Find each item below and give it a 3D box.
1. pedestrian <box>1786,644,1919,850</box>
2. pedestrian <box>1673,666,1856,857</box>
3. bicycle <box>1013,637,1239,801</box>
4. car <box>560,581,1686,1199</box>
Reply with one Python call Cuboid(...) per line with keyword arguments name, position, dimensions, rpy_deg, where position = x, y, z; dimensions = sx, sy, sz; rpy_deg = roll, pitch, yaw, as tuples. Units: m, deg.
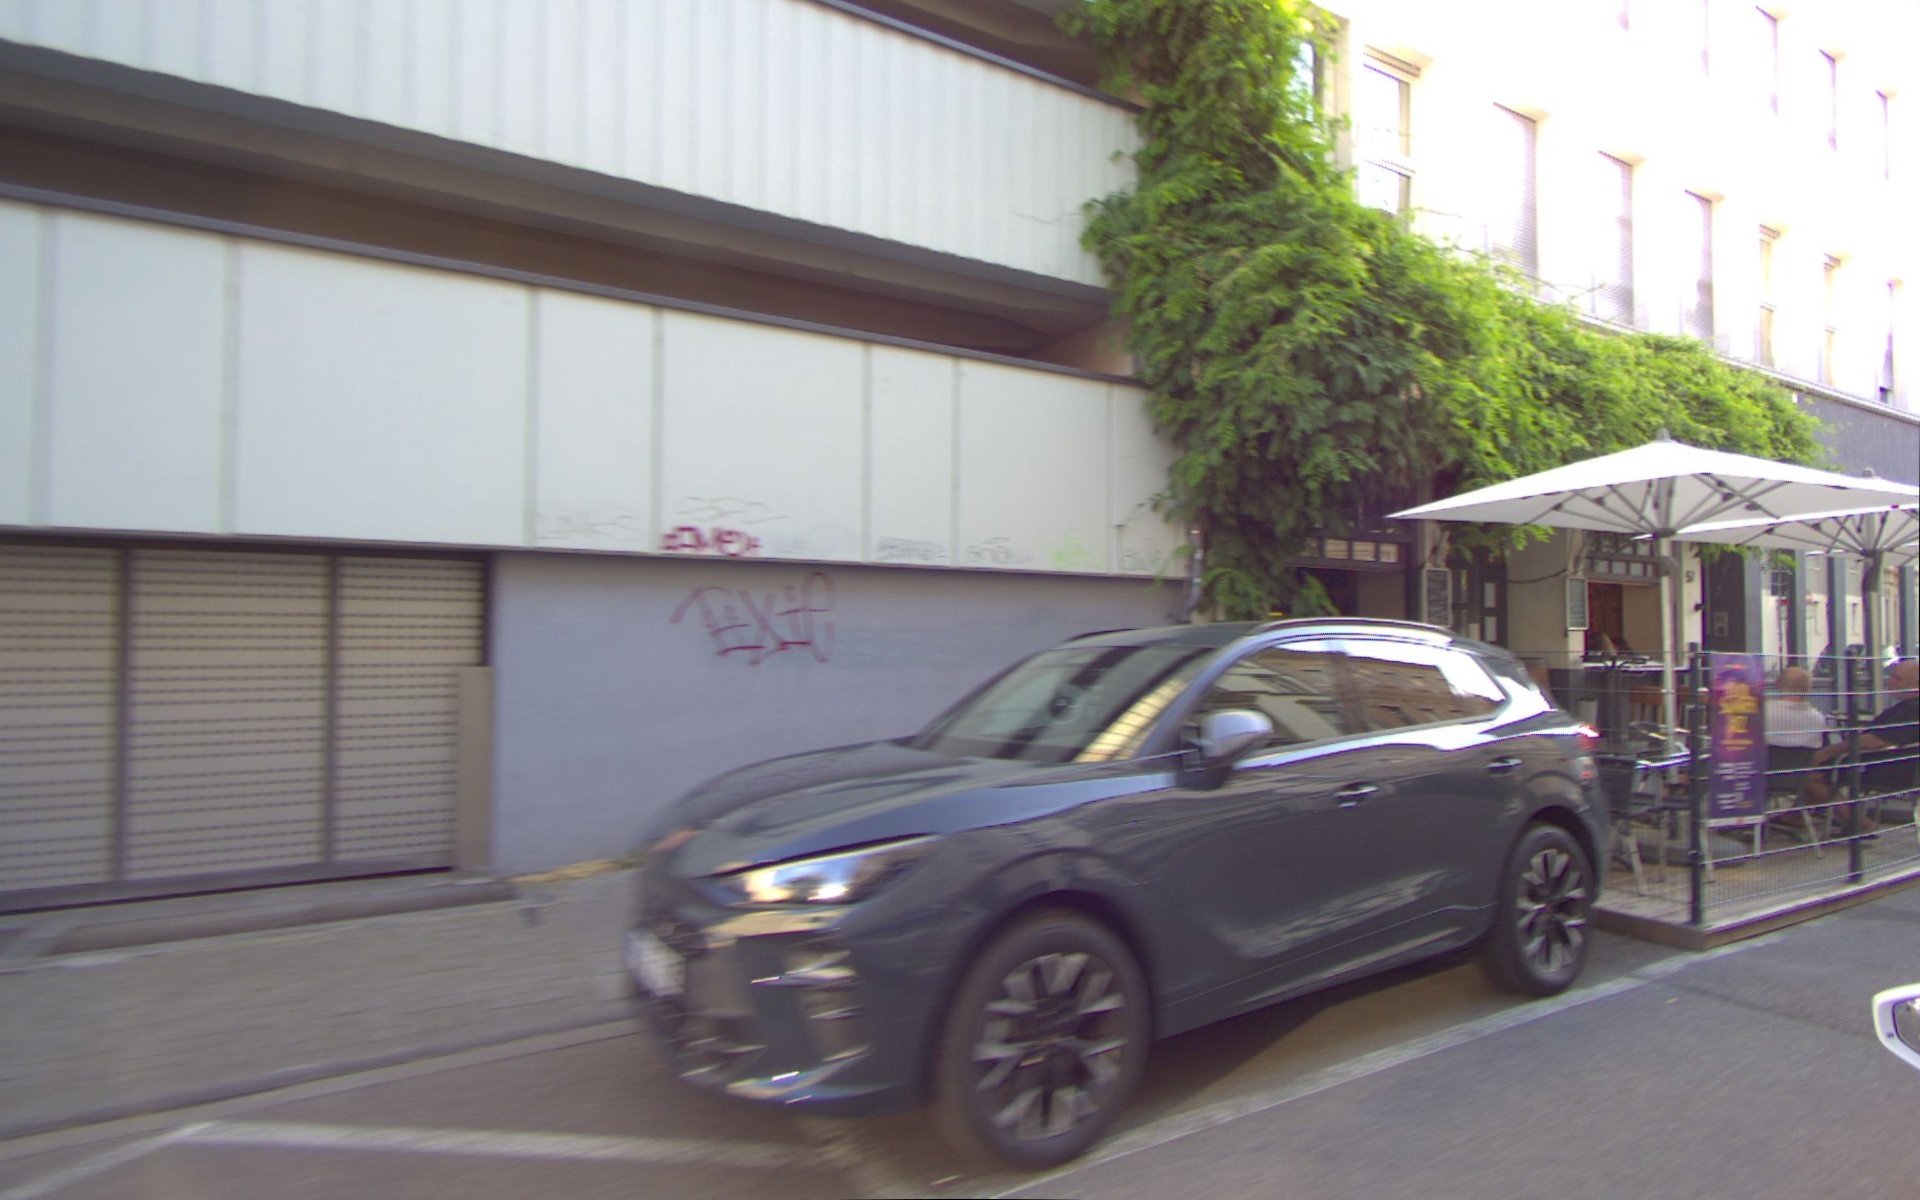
Cuboid(name="pedestrian", position=(6.328, 0.953, 6.853), dimensions=(0.904, 1.304, 0.777), rpy_deg=(1, -2, -30))
Cuboid(name="pedestrian", position=(5.256, 1.033, 6.599), dimensions=(0.726, 1.181, 0.554), rpy_deg=(0, -2, 2))
Cuboid(name="bicycle", position=(1.336, 0.889, 7.978), dimensions=(1.772, 1.175, 0.640), rpy_deg=(1, -2, -29))
Cuboid(name="car", position=(0.942, 0.868, 4.331), dimensions=(4.718, 1.588, 1.872), rpy_deg=(1, -5, -32))
